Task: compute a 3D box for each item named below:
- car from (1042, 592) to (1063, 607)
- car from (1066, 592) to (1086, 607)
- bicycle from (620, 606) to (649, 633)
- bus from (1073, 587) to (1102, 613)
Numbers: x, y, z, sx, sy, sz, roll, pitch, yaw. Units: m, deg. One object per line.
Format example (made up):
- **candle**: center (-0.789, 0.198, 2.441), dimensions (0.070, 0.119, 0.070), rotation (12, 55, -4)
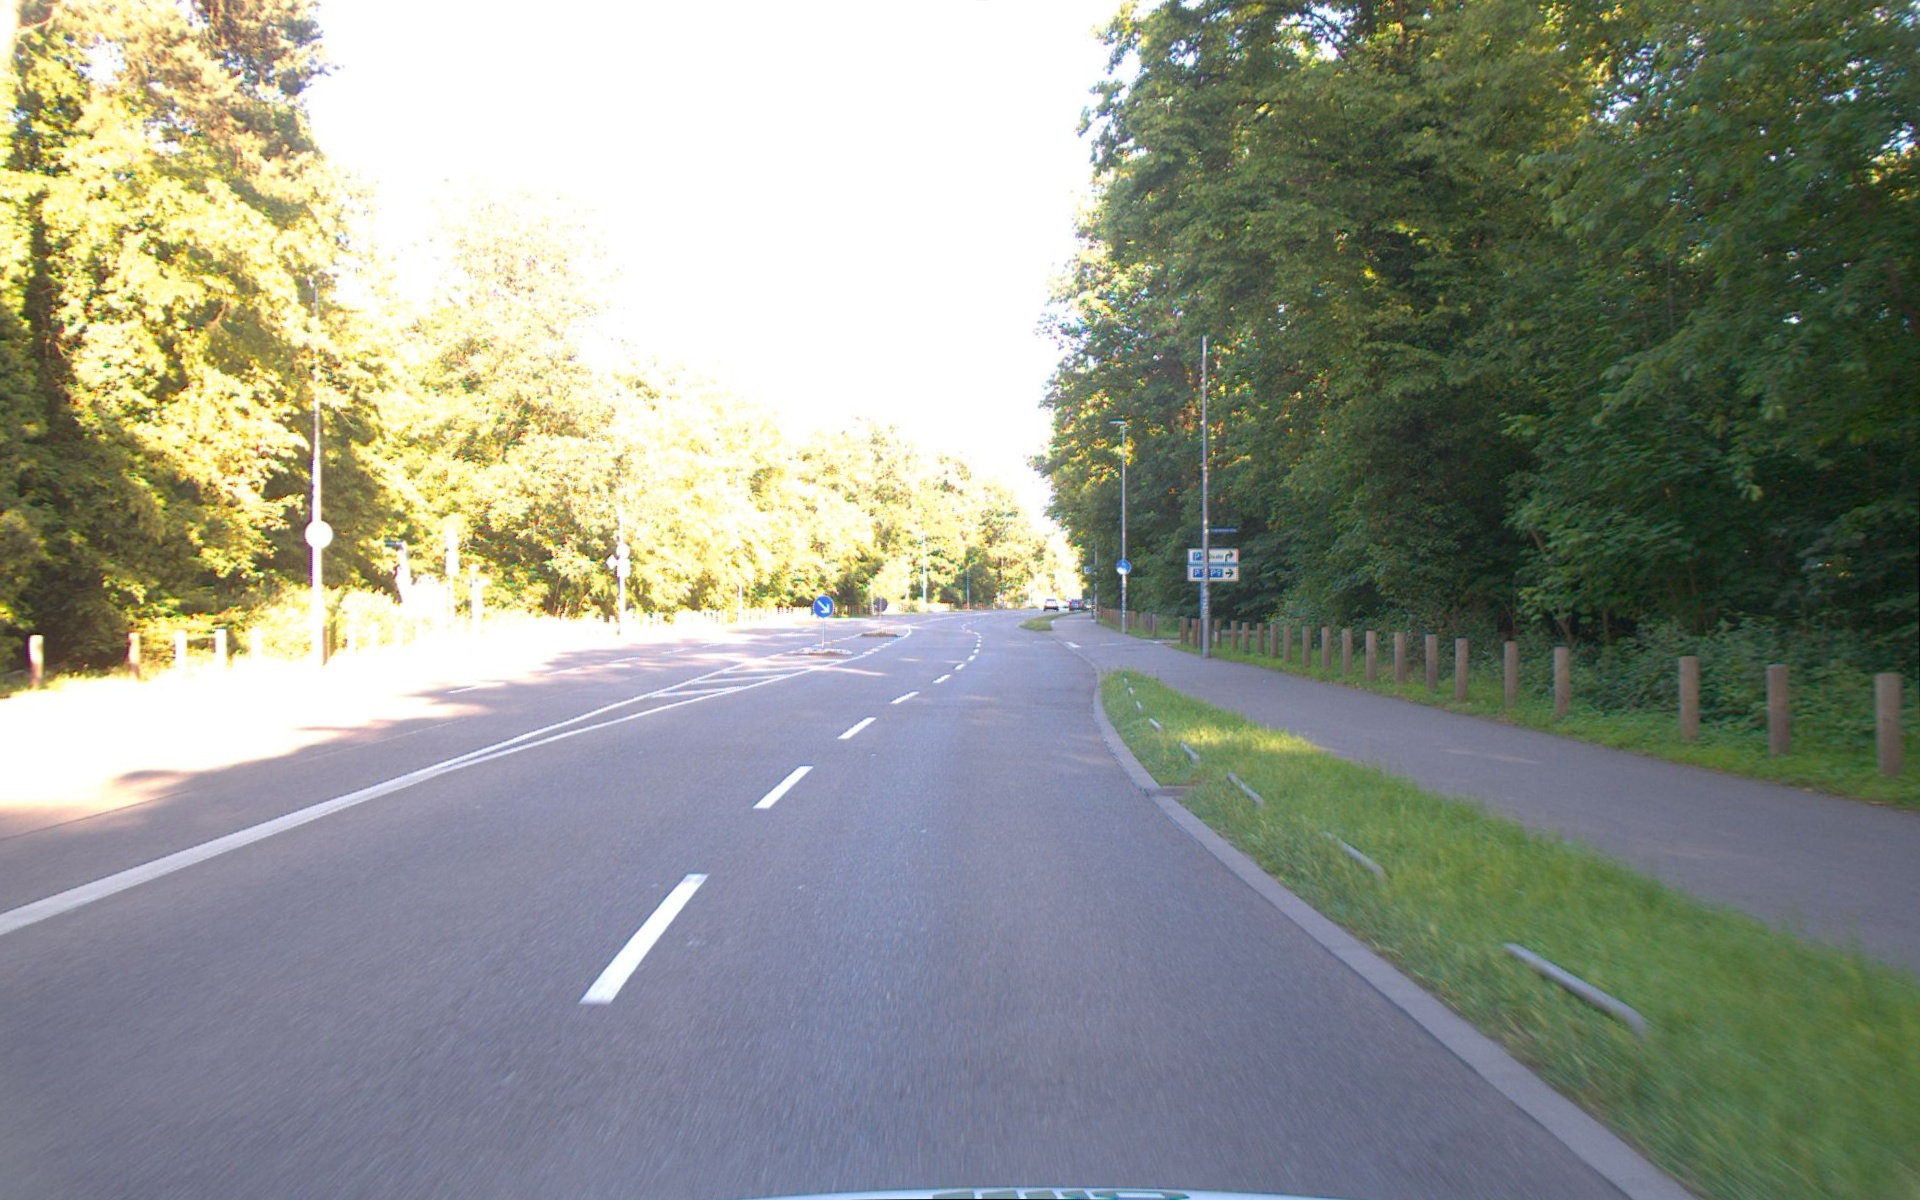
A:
- **car**: center (11.273, -0.042, 201.938), dimensions (1.840, 1.739, 4.003), rotation (-1, 0, 14)
- **car**: center (14.506, -0.057, 206.788), dimensions (1.840, 1.796, 4.003), rotation (-1, 0, 14)
- **bicycle**: center (-13.899, 0.820, 70.585), dimensions (0.392, 1.152, 2.221), rotation (1, 0, 11)
- **bus**: center (16.934, -0.002, 219.574), dimensions (2.549, 3.427, 7.982), rotation (0, 0, 13)
